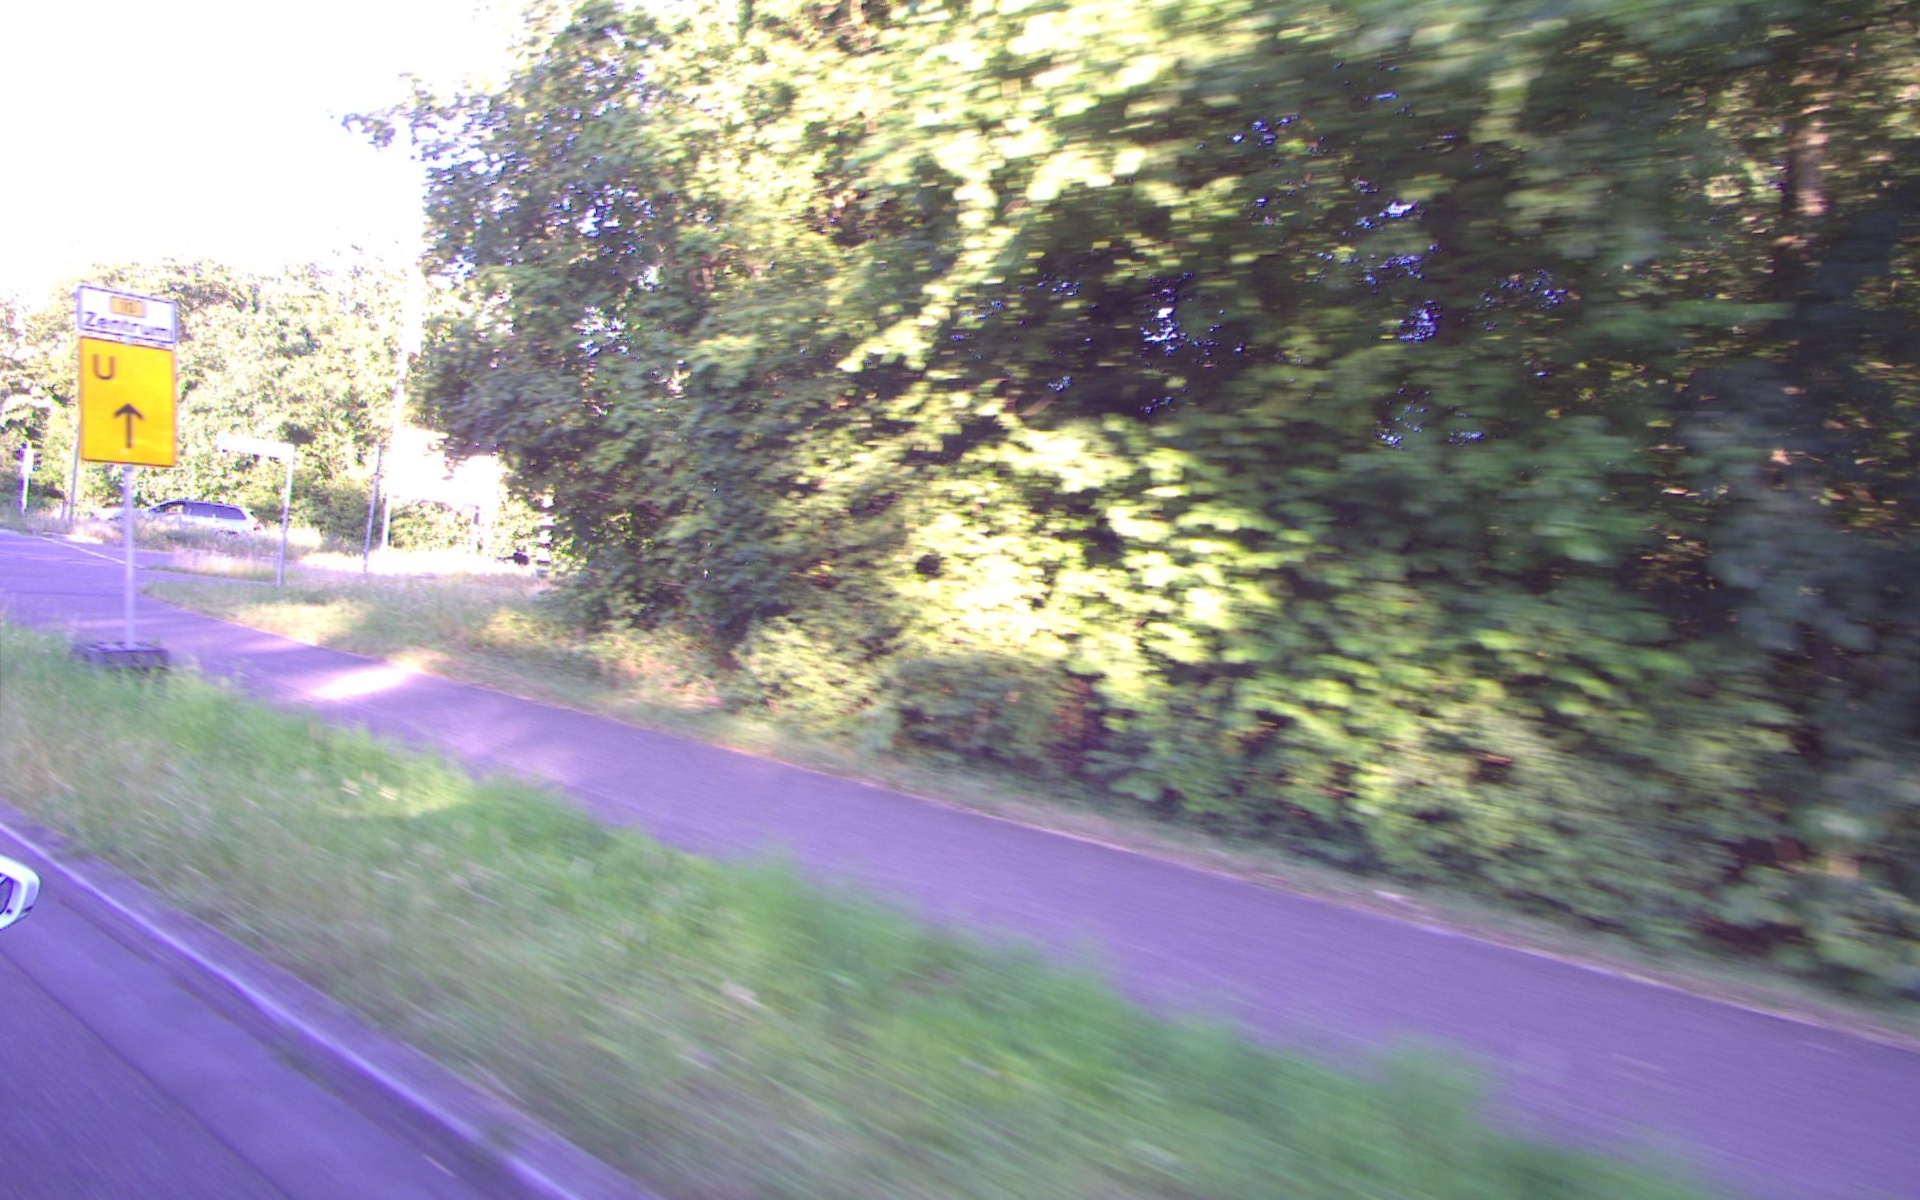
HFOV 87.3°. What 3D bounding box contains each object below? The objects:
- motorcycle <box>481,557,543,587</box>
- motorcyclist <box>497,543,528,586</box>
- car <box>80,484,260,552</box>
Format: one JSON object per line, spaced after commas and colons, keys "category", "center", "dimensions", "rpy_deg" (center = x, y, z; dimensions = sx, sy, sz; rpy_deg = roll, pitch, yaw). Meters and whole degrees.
{"category": "motorcycle", "center": [-18.112, -1.123, 40.690], "dimensions": [2.131, 0.921, 0.656], "rpy_deg": [7, 0, -35]}
{"category": "motorcyclist", "center": [-18.091, -1.434, 40.685], "dimensions": [0.880, 1.614, 0.649], "rpy_deg": [6, 1, -35]}
{"category": "car", "center": [-27.761, -2.851, 35.590], "dimensions": [4.787, 1.618, 1.981], "rpy_deg": [7, 0, -35]}
